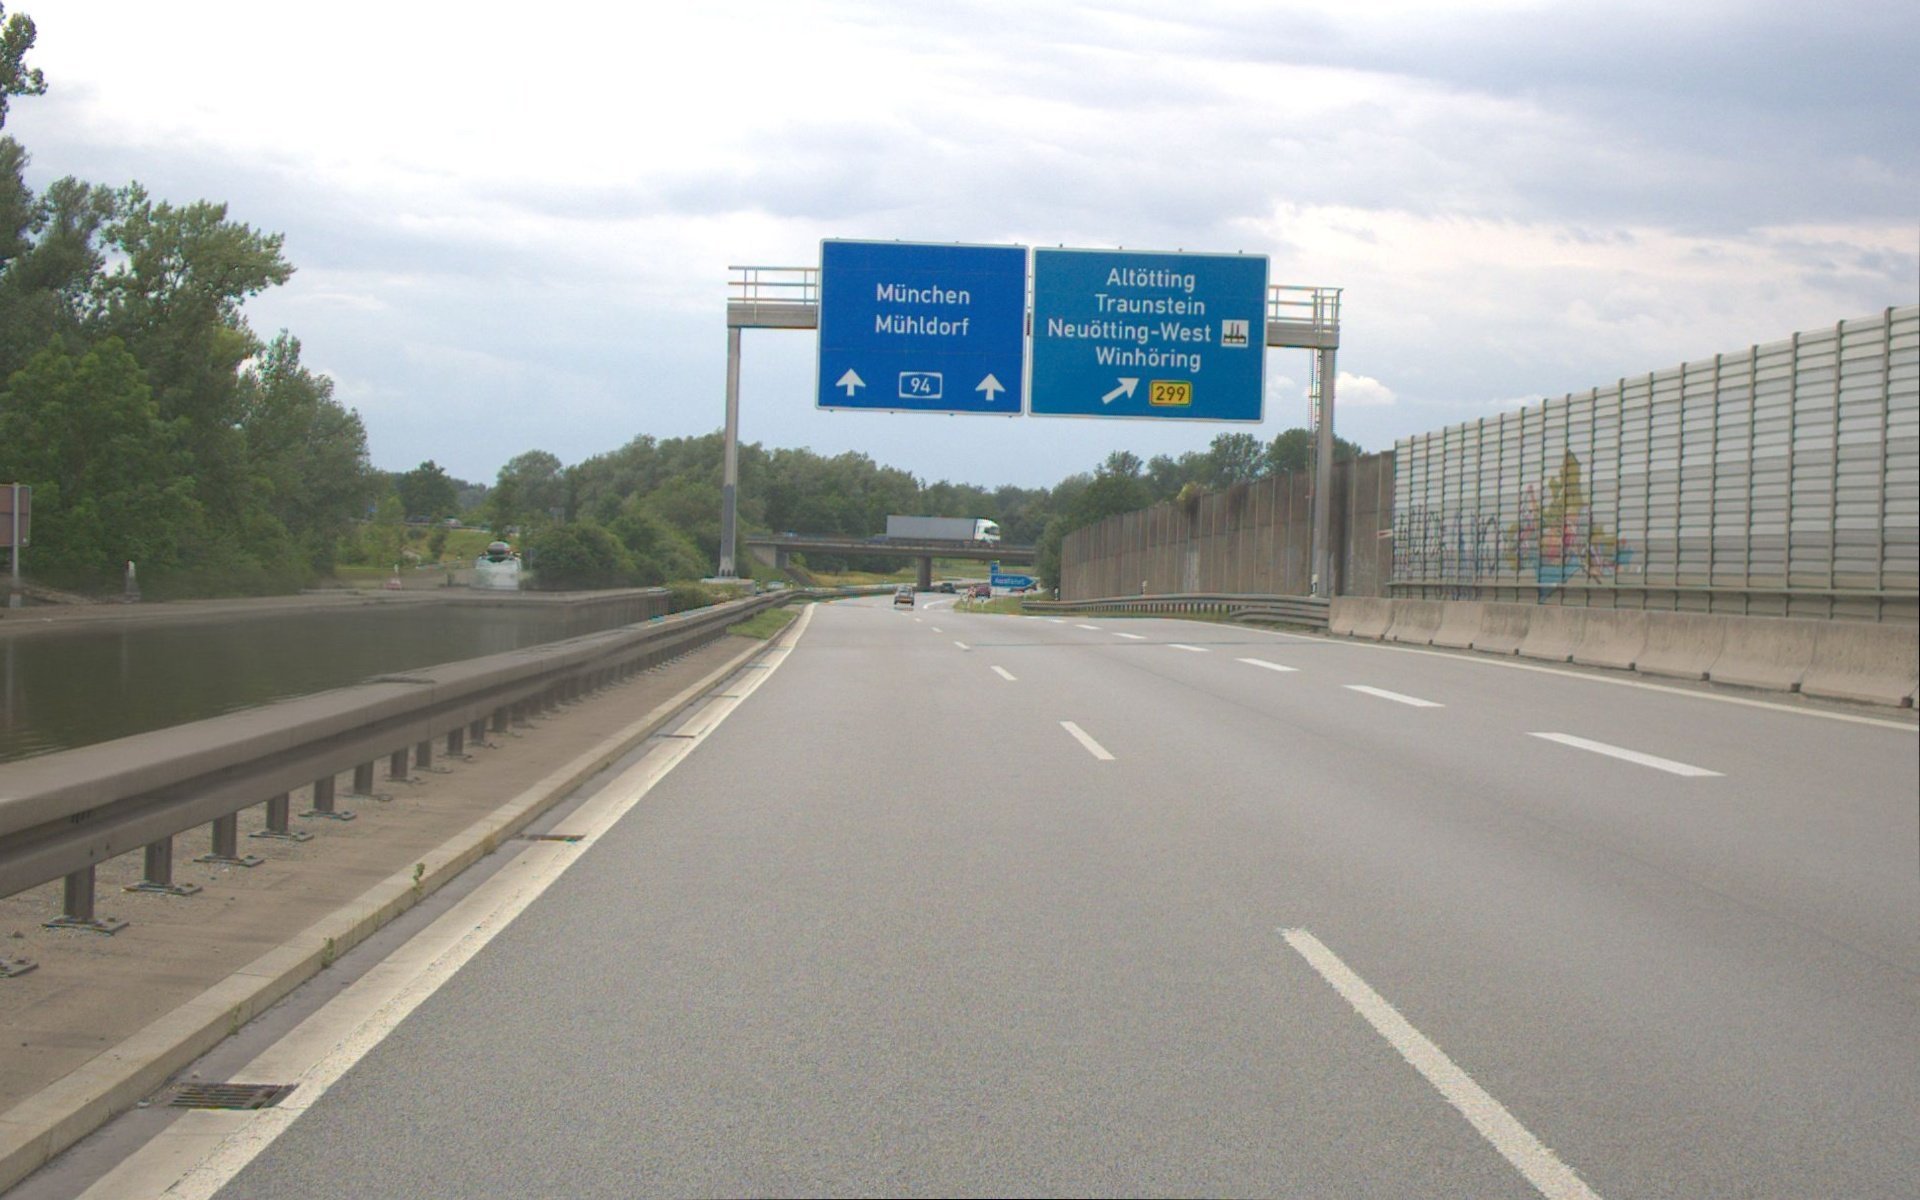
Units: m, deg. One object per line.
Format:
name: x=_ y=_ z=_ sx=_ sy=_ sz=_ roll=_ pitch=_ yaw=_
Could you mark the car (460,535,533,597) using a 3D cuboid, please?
car: x=-15.402 y=-1.124 z=114.424 sx=1.993 sy=1.996 sz=4.744 roll=1 pitch=0 yaw=-3
